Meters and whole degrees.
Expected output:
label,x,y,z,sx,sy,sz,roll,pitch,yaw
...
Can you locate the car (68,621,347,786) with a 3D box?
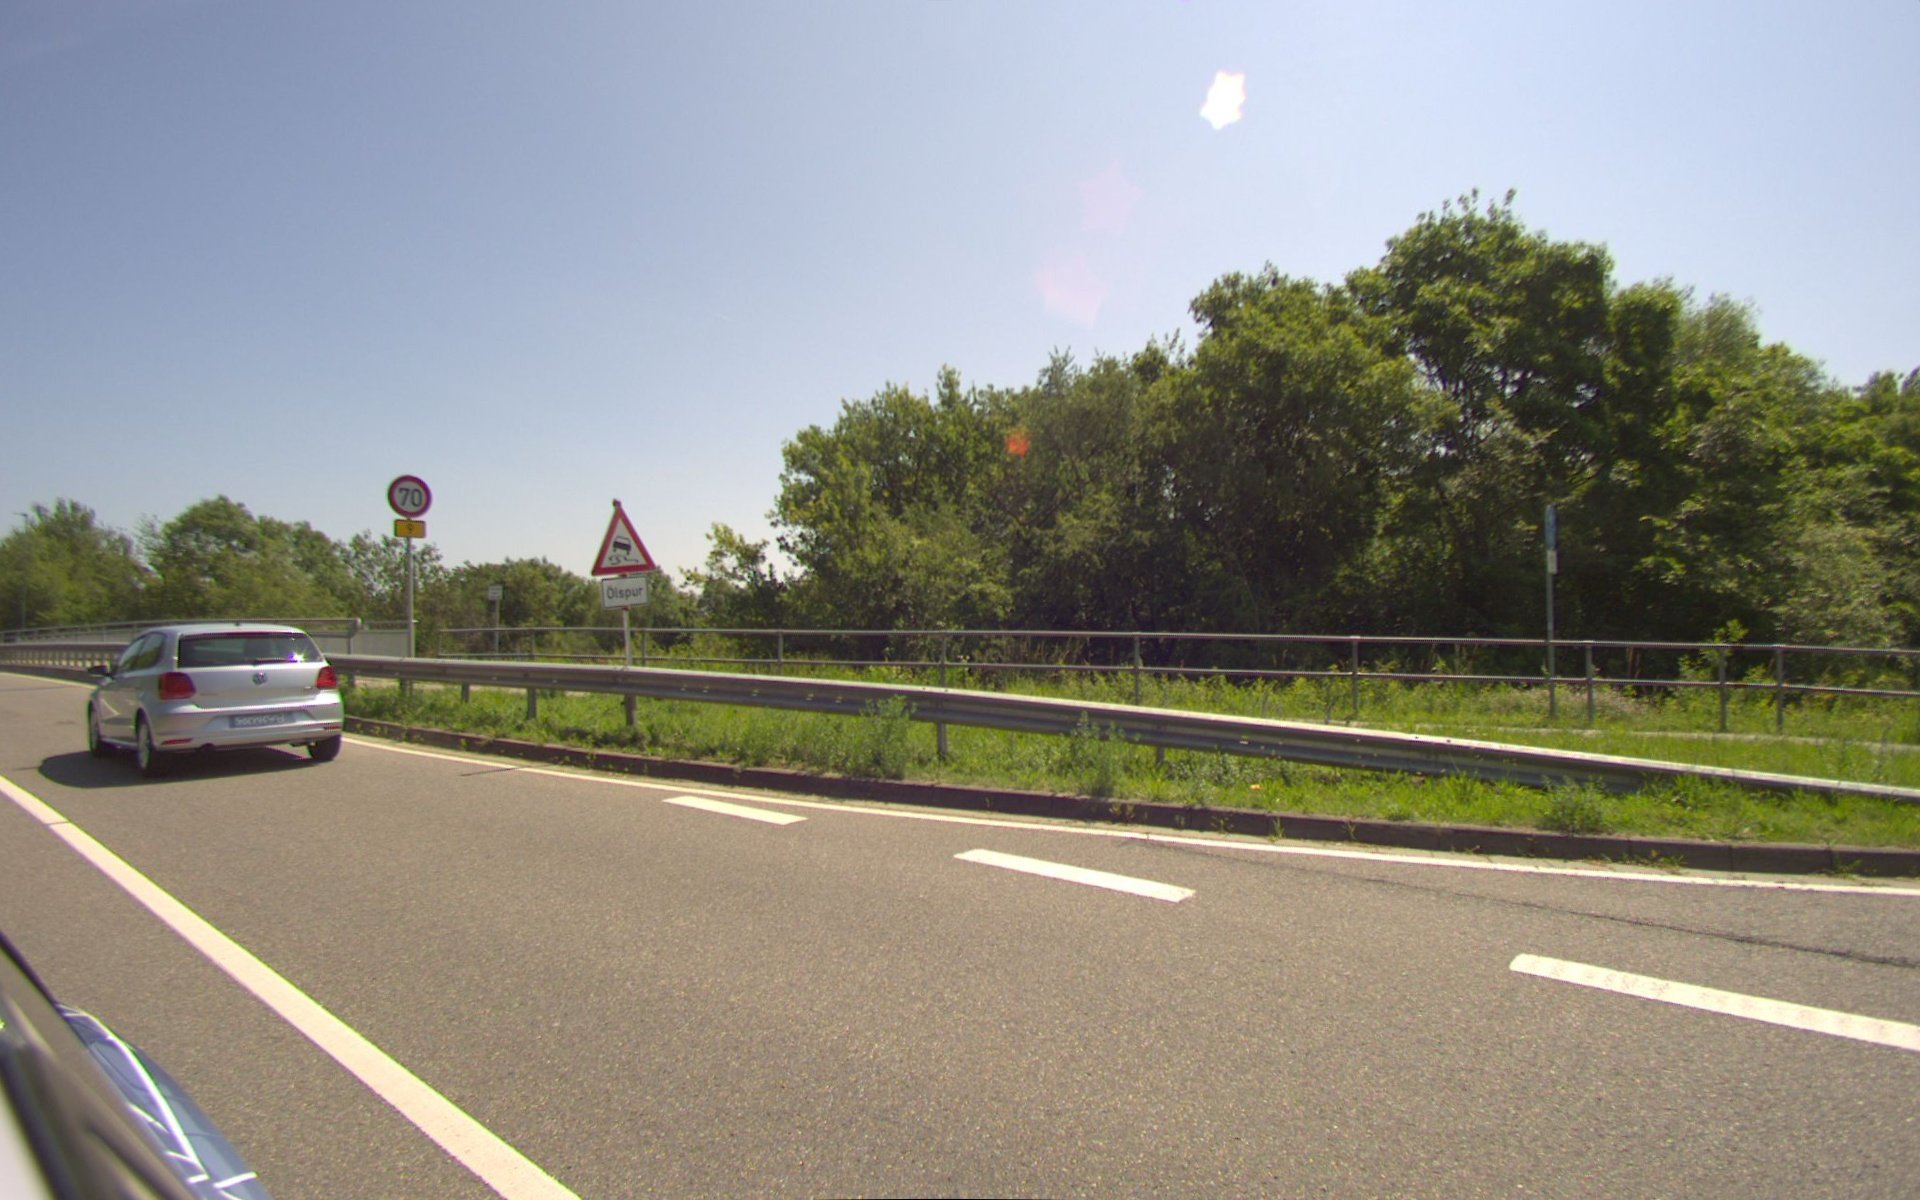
label,x,y,z,sx,sy,sz,roll,pitch,yaw
car,-8.110,0.966,10.795,3.764,1.429,1.627,-2,-1,41
